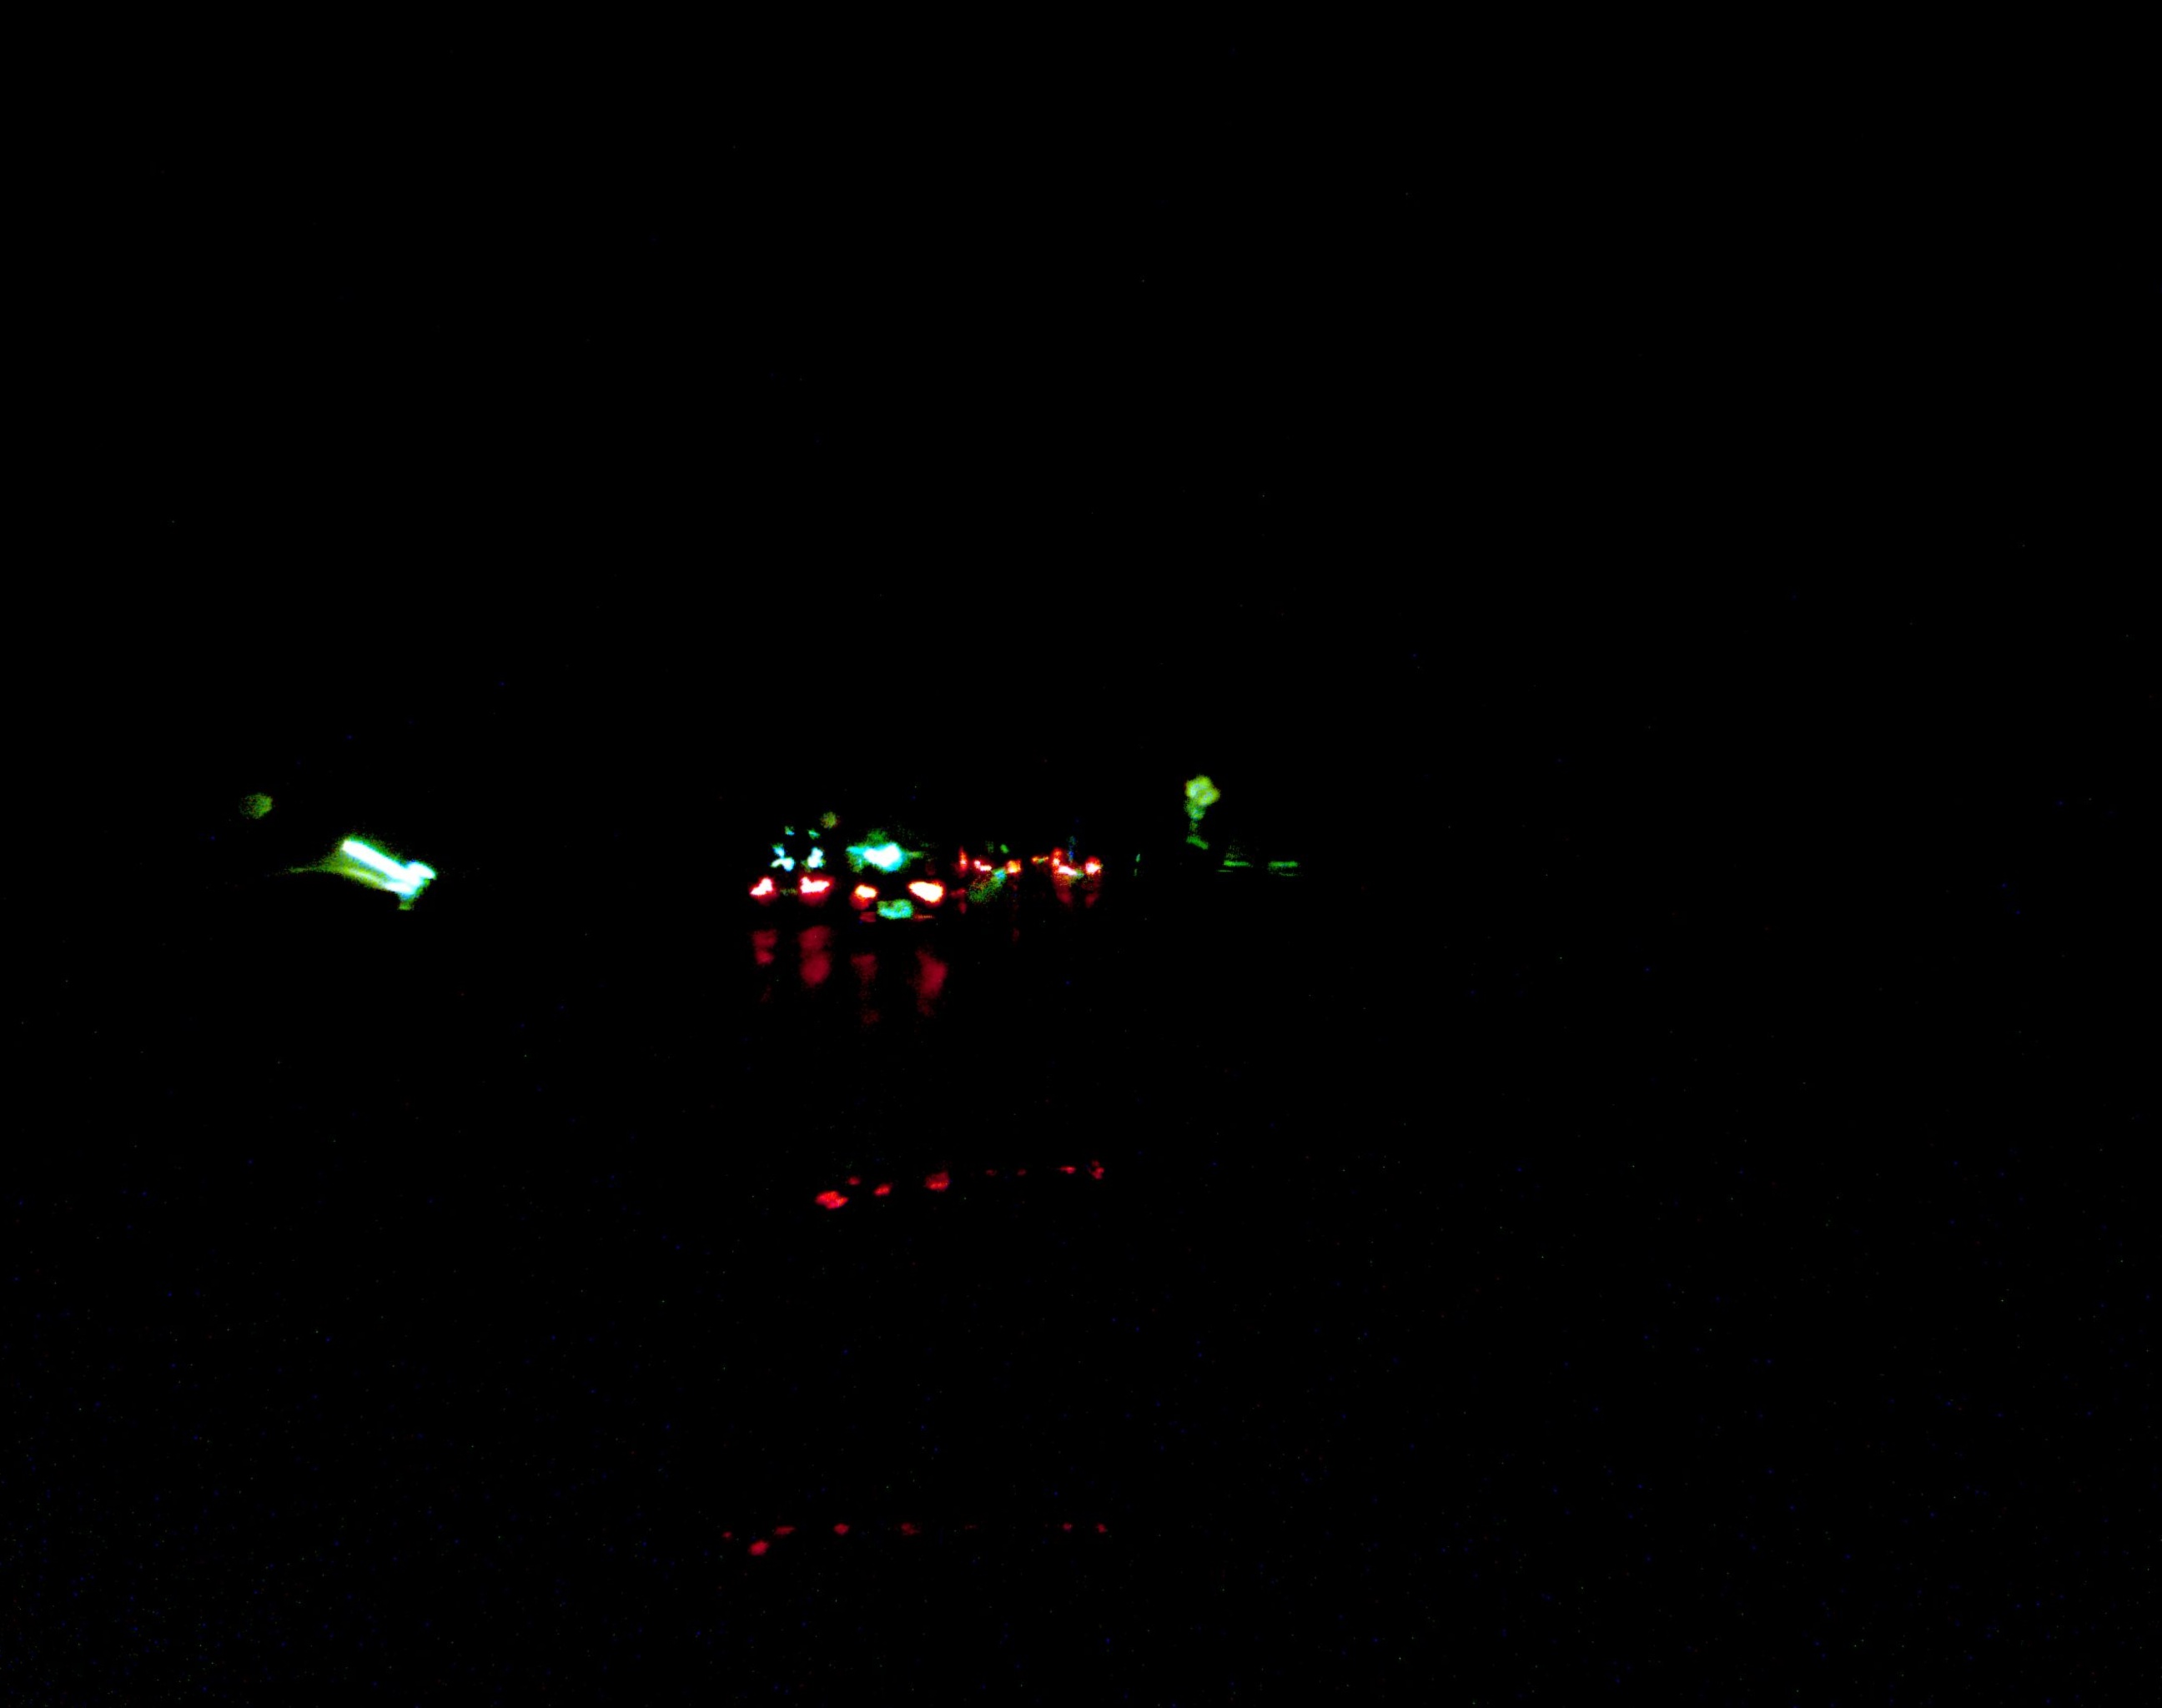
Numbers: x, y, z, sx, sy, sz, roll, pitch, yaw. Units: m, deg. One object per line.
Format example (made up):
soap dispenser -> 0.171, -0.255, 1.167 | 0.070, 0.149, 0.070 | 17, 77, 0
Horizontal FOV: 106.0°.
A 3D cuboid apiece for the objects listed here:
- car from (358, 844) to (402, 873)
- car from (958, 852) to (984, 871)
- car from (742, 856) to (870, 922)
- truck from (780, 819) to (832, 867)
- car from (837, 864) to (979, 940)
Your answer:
car -> -43.124, 0.285, 50.157 | 1.845, 1.713, 3.954 | 2, -1, -39
car -> -9.627, 0.672, 71.474 | 1.887, 1.550, 3.997 | 1, -1, -2
car -> -7.013, 0.816, 21.372 | 1.763, 1.517, 4.912 | 1, 0, -1
truck -> -20.570, -0.763, 61.214 | 2.600, 3.458, 4.632 | 1, -1, -6
car -> -3.496, 0.933, 17.284 | 1.954, 1.380, 4.051 | 2, -1, 2
